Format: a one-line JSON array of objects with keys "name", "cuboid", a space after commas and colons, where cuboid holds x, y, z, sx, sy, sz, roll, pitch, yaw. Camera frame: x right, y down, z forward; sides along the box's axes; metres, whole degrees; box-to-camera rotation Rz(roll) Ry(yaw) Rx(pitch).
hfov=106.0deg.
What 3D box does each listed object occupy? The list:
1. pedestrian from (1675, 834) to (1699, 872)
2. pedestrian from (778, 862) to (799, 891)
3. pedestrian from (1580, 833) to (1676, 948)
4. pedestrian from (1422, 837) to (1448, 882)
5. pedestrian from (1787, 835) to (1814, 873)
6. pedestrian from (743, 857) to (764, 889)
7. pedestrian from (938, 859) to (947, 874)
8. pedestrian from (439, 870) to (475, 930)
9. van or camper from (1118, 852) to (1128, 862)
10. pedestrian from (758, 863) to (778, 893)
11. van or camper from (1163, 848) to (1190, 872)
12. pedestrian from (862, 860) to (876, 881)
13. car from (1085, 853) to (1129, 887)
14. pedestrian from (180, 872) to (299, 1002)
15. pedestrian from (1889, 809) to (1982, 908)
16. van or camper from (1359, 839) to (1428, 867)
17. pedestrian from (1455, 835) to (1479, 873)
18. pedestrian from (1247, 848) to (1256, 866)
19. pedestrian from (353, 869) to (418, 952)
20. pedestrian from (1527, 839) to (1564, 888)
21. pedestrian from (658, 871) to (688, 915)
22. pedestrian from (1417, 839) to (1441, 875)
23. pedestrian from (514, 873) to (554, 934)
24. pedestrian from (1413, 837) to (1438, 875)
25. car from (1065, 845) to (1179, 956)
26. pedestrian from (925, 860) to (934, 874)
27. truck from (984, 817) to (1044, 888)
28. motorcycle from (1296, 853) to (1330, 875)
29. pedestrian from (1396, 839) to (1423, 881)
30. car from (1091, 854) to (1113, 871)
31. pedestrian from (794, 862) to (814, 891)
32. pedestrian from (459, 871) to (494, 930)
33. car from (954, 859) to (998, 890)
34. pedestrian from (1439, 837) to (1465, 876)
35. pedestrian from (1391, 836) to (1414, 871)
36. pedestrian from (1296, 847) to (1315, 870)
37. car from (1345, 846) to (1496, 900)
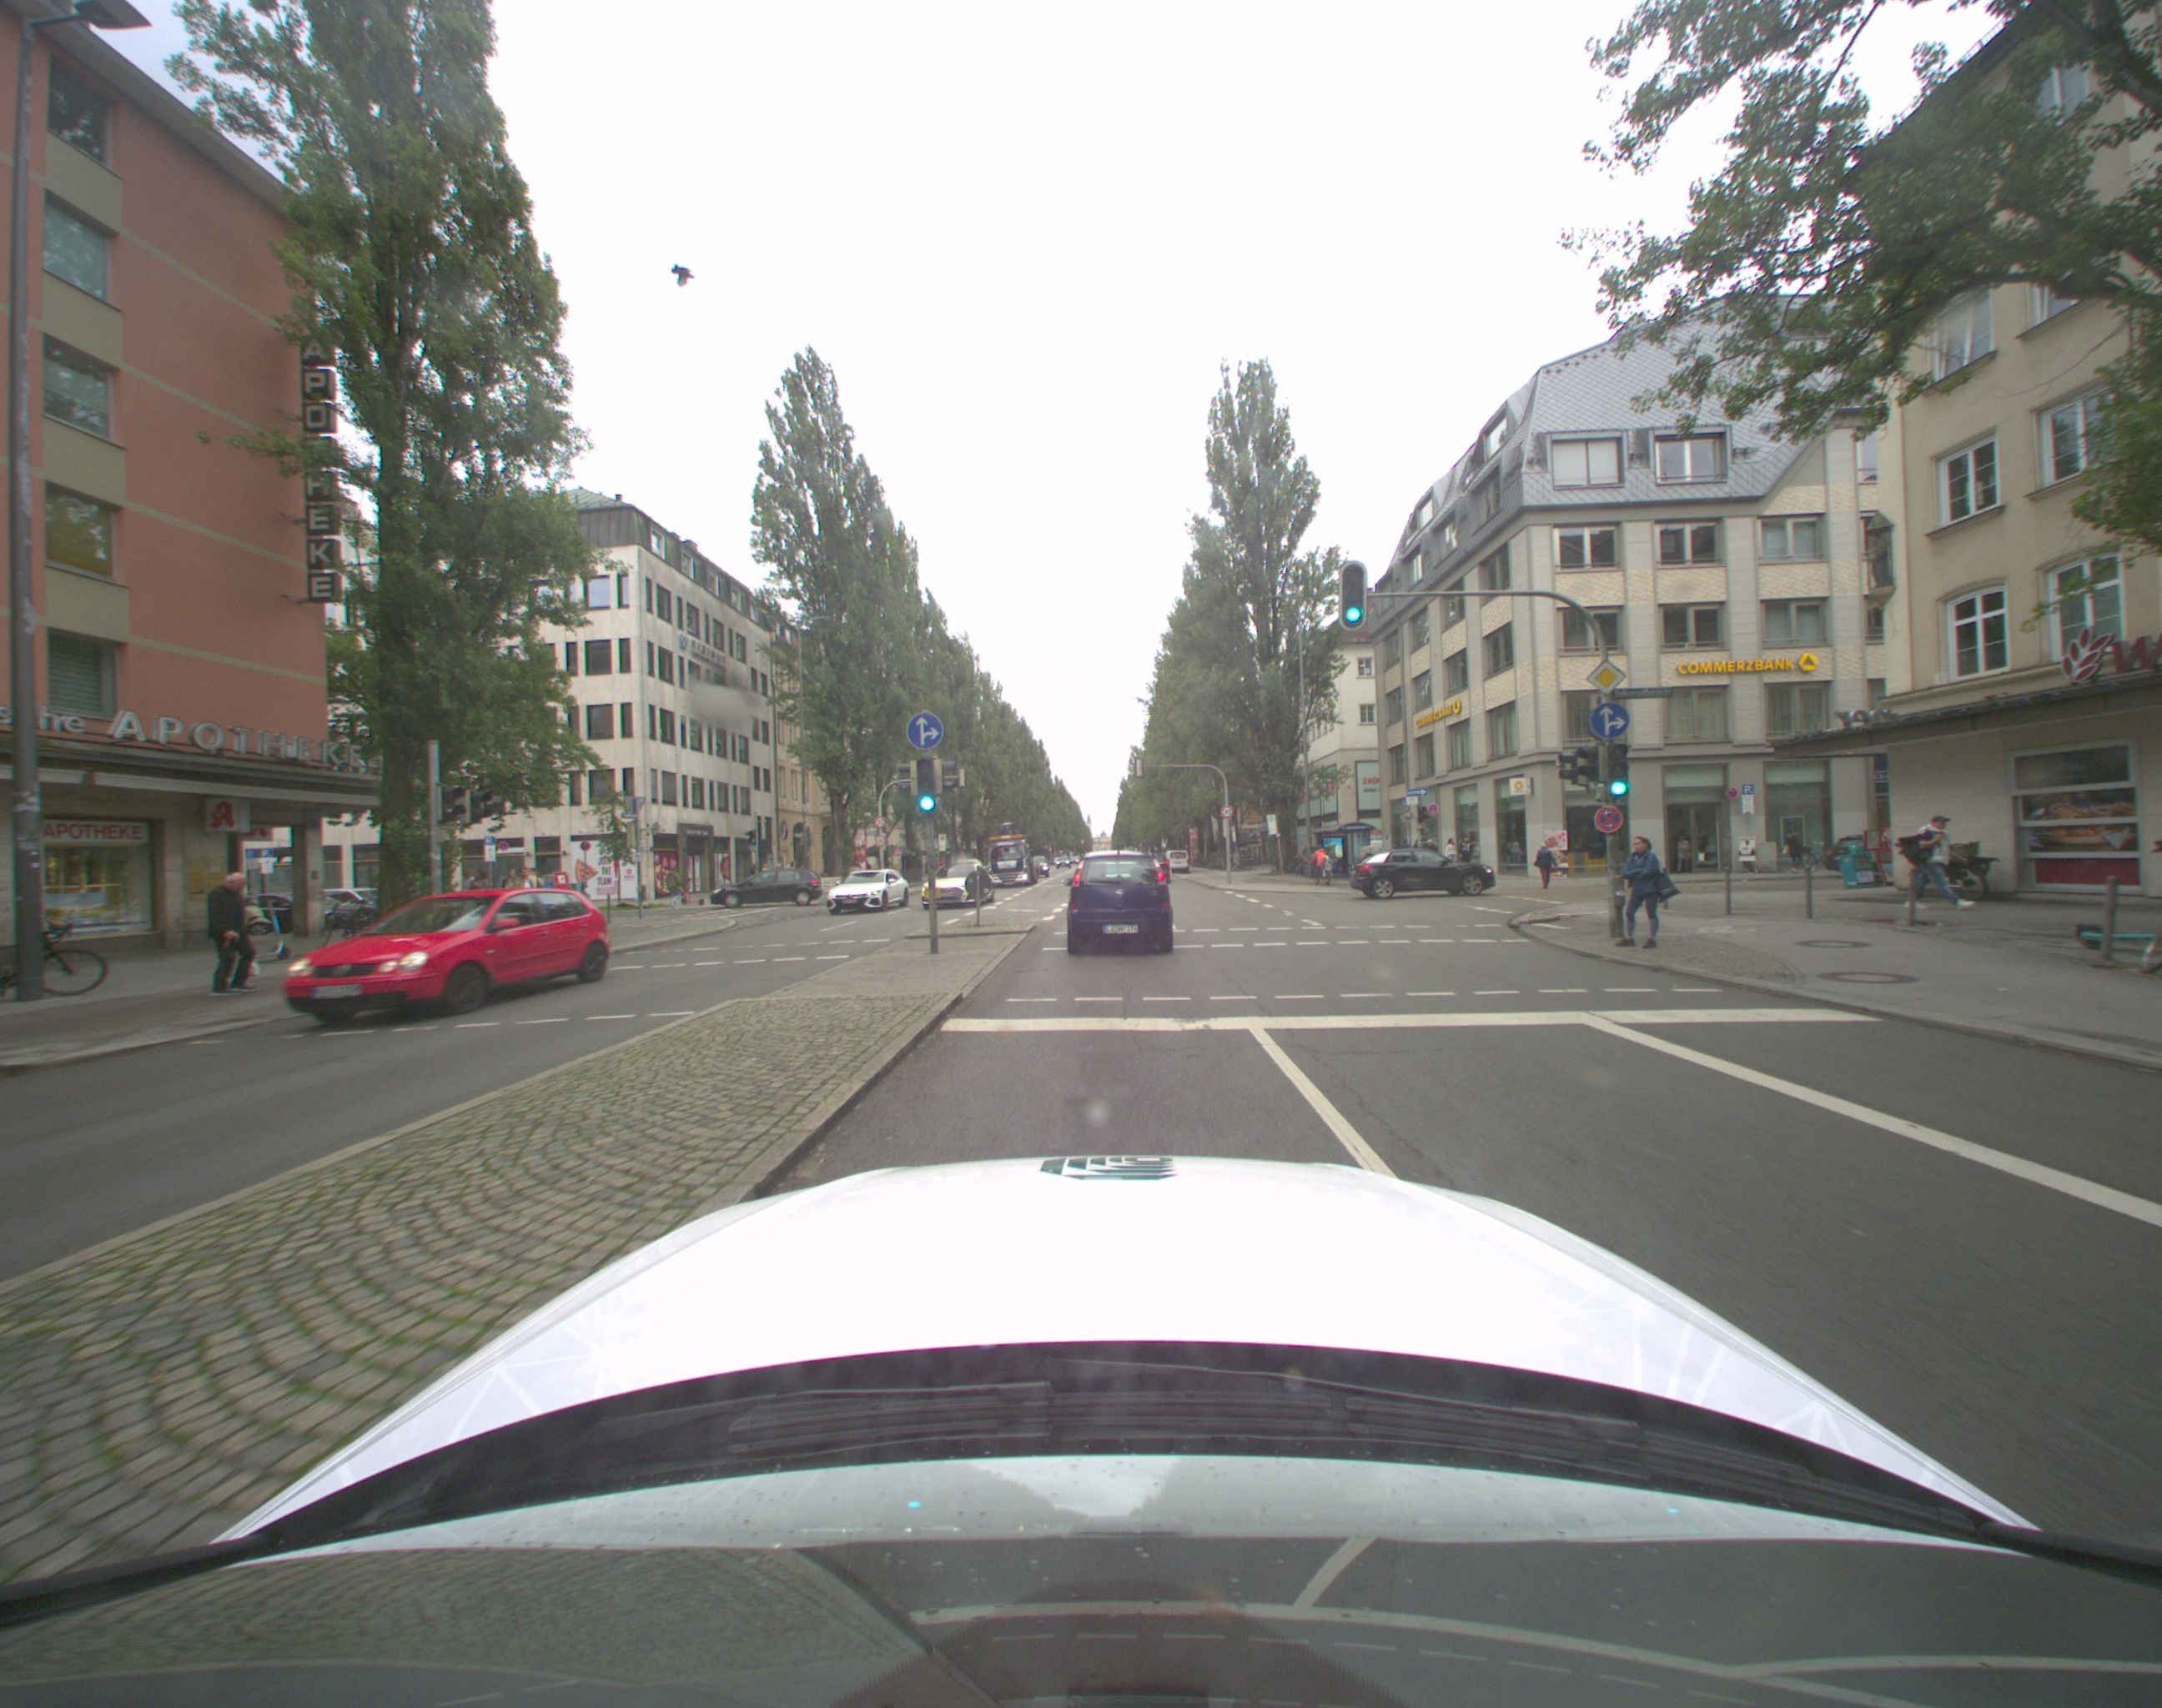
[{"name": "pedestrian", "cuboid": [24.560, -0.046, 33.011, 0.442, 1.531, 0.584, -2, 0, -2]}, {"name": "pedestrian", "cuboid": [-16.490, 1.277, 45.973, 0.748, 1.567, 0.989, -2, 0, 1]}, {"name": "pedestrian", "cuboid": [8.062, 0.523, 12.041, 0.763, 1.609, 0.863, -2, 0, -3]}, {"name": "pedestrian", "cuboid": [14.219, 0.208, 32.721, 0.705, 1.758, 0.753, -2, 0, 3]}, {"name": "pedestrian", "cuboid": [27.307, -0.006, 30.914, 0.442, 1.405, 0.584, -2, 0, -2]}, {"name": "pedestrian", "cuboid": [-18.757, 1.059, 46.620, 0.797, 1.787, 0.912, 0, 0, 2]}, {"name": "pedestrian", "cuboid": [-15.614, 1.360, 91.669, 0.731, 1.673, 0.953, -2, 0, 1]}, {"name": "pedestrian", "cuboid": [-18.205, 1.337, 23.757, 0.584, 1.691, 0.514, -2, 0, 1]}, {"name": "van or camper", "cuboid": [10.594, 0.755, 206.204, 2.467, 2.581, 5.847, -2, 0, 2]}, {"name": "pedestrian", "cuboid": [-17.895, 1.363, 46.618, 0.729, 1.681, 0.978, -1, 0, 1]}, {"name": "van or camper", "cuboid": [8.121, 0.513, 69.650, 1.862, 1.883, 4.904, -2, 0, 1]}, {"name": "pedestrian", "cuboid": [-17.664, 1.337, 67.920, 0.840, 1.744, 0.955, -1, -1, 2]}, {"name": "car", "cuboid": [1.252, 0.721, 39.759, 1.987, 1.497, 4.000, -2, 0, 1]}, {"name": "pedestrian", "cuboid": [-12.364, 1.180, 11.990, 0.729, 1.796, 0.997, -1, -1, 20]}, {"name": "pedestrian", "cuboid": [15.443, 0.091, 14.745, 0.661, 1.703, 0.861, -2, -2, 3]}, {"name": "van or camper", "cuboid": [21.613, -0.063, 56.404, 4.084, 1.867, 1.901, -1, -1, 5]}, {"name": "pedestrian", "cuboid": [18.095, 0.002, 38.173, 0.747, 1.758, 0.711, -2, 0, 3]}, {"name": "pedestrian", "cuboid": [18.209, 0.316, 86.973, 0.823, 1.841, 1.100, -2, 0, 4]}, {"name": "pedestrian", "cuboid": [-15.442, 1.232, 18.095, 0.721, 1.771, 0.778, -2, 0, 2]}, {"name": "pedestrian", "cuboid": [16.125, 0.338, 28.284, 0.746, 1.636, 0.734, -4, -2, 4]}, {"name": "pedestrian", "cuboid": [-16.596, 1.577, 33.148, 0.724, 1.740, 0.942, -1, -1, 1]}, {"name": "pedestrian", "cuboid": [17.049, 0.133, 39.940, 0.747, 1.718, 0.963, -2, 0, 3]}, {"name": "pedestrian", "cuboid": [-14.648, 1.317, 21.824, 0.654, 1.583, 0.548, -2, 0, 3]}, {"name": "pedestrian", "cuboid": [16.274, 0.106, 38.444, 0.747, 1.758, 0.859, -2, -2, 3]}, {"name": "car", "cuboid": [0.644, 0.699, 14.269, 1.675, 1.641, 4.000, -1, 0, 1]}, {"name": "pedestrian", "cuboid": [-16.606, 1.459, 89.482, 0.766, 1.537, 0.805, -2, 0, 1]}, {"name": "truck", "cuboid": [-3.763, -0.078, 47.508, 2.454, 3.670, 8.442, -2, 0, 2]}, {"name": "motorcycle", "cuboid": [12.740, 0.568, 44.736, 1.717, 1.140, 0.510, -2, 0, 2]}, {"name": "pedestrian", "cuboid": [14.714, 0.266, 36.520, 0.815, 1.818, 0.890, -2, 0, 0]}, {"name": "car", "cuboid": [1.978, 0.805, 77.687, 1.987, 1.497, 4.000, -2, 0, 1]}, {"name": "pedestrian", "cuboid": [-15.986, 1.280, 46.989, 0.775, 1.618, 0.935, -2, 0, 1]}, {"name": "pedestrian", "cuboid": [-17.559, 1.347, 23.654, 0.627, 1.689, 0.519, -1, -1, 2]}, {"name": "car", "cuboid": [-6.472, 1.248, 50.673, 1.830, 1.716, 4.638, -3, 0, 2]}, {"name": "pedestrian", "cuboid": [17.276, 0.104, 37.941, 0.747, 1.758, 1.018, -2, 0, 3]}, {"name": "pedestrian", "cuboid": [16.018, -0.029, 40.609, 0.747, 1.677, 0.963, -2, 0, 3]}, {"name": "pedestrian", "cuboid": [16.537, 0.325, 59.969, 0.992, 1.673, 0.816, -2, 0, -37]}, {"name": "car", "cuboid": [10.363, 0.558, 25.137, 3.964, 1.461, 1.763, -2, 0, 8]}]
